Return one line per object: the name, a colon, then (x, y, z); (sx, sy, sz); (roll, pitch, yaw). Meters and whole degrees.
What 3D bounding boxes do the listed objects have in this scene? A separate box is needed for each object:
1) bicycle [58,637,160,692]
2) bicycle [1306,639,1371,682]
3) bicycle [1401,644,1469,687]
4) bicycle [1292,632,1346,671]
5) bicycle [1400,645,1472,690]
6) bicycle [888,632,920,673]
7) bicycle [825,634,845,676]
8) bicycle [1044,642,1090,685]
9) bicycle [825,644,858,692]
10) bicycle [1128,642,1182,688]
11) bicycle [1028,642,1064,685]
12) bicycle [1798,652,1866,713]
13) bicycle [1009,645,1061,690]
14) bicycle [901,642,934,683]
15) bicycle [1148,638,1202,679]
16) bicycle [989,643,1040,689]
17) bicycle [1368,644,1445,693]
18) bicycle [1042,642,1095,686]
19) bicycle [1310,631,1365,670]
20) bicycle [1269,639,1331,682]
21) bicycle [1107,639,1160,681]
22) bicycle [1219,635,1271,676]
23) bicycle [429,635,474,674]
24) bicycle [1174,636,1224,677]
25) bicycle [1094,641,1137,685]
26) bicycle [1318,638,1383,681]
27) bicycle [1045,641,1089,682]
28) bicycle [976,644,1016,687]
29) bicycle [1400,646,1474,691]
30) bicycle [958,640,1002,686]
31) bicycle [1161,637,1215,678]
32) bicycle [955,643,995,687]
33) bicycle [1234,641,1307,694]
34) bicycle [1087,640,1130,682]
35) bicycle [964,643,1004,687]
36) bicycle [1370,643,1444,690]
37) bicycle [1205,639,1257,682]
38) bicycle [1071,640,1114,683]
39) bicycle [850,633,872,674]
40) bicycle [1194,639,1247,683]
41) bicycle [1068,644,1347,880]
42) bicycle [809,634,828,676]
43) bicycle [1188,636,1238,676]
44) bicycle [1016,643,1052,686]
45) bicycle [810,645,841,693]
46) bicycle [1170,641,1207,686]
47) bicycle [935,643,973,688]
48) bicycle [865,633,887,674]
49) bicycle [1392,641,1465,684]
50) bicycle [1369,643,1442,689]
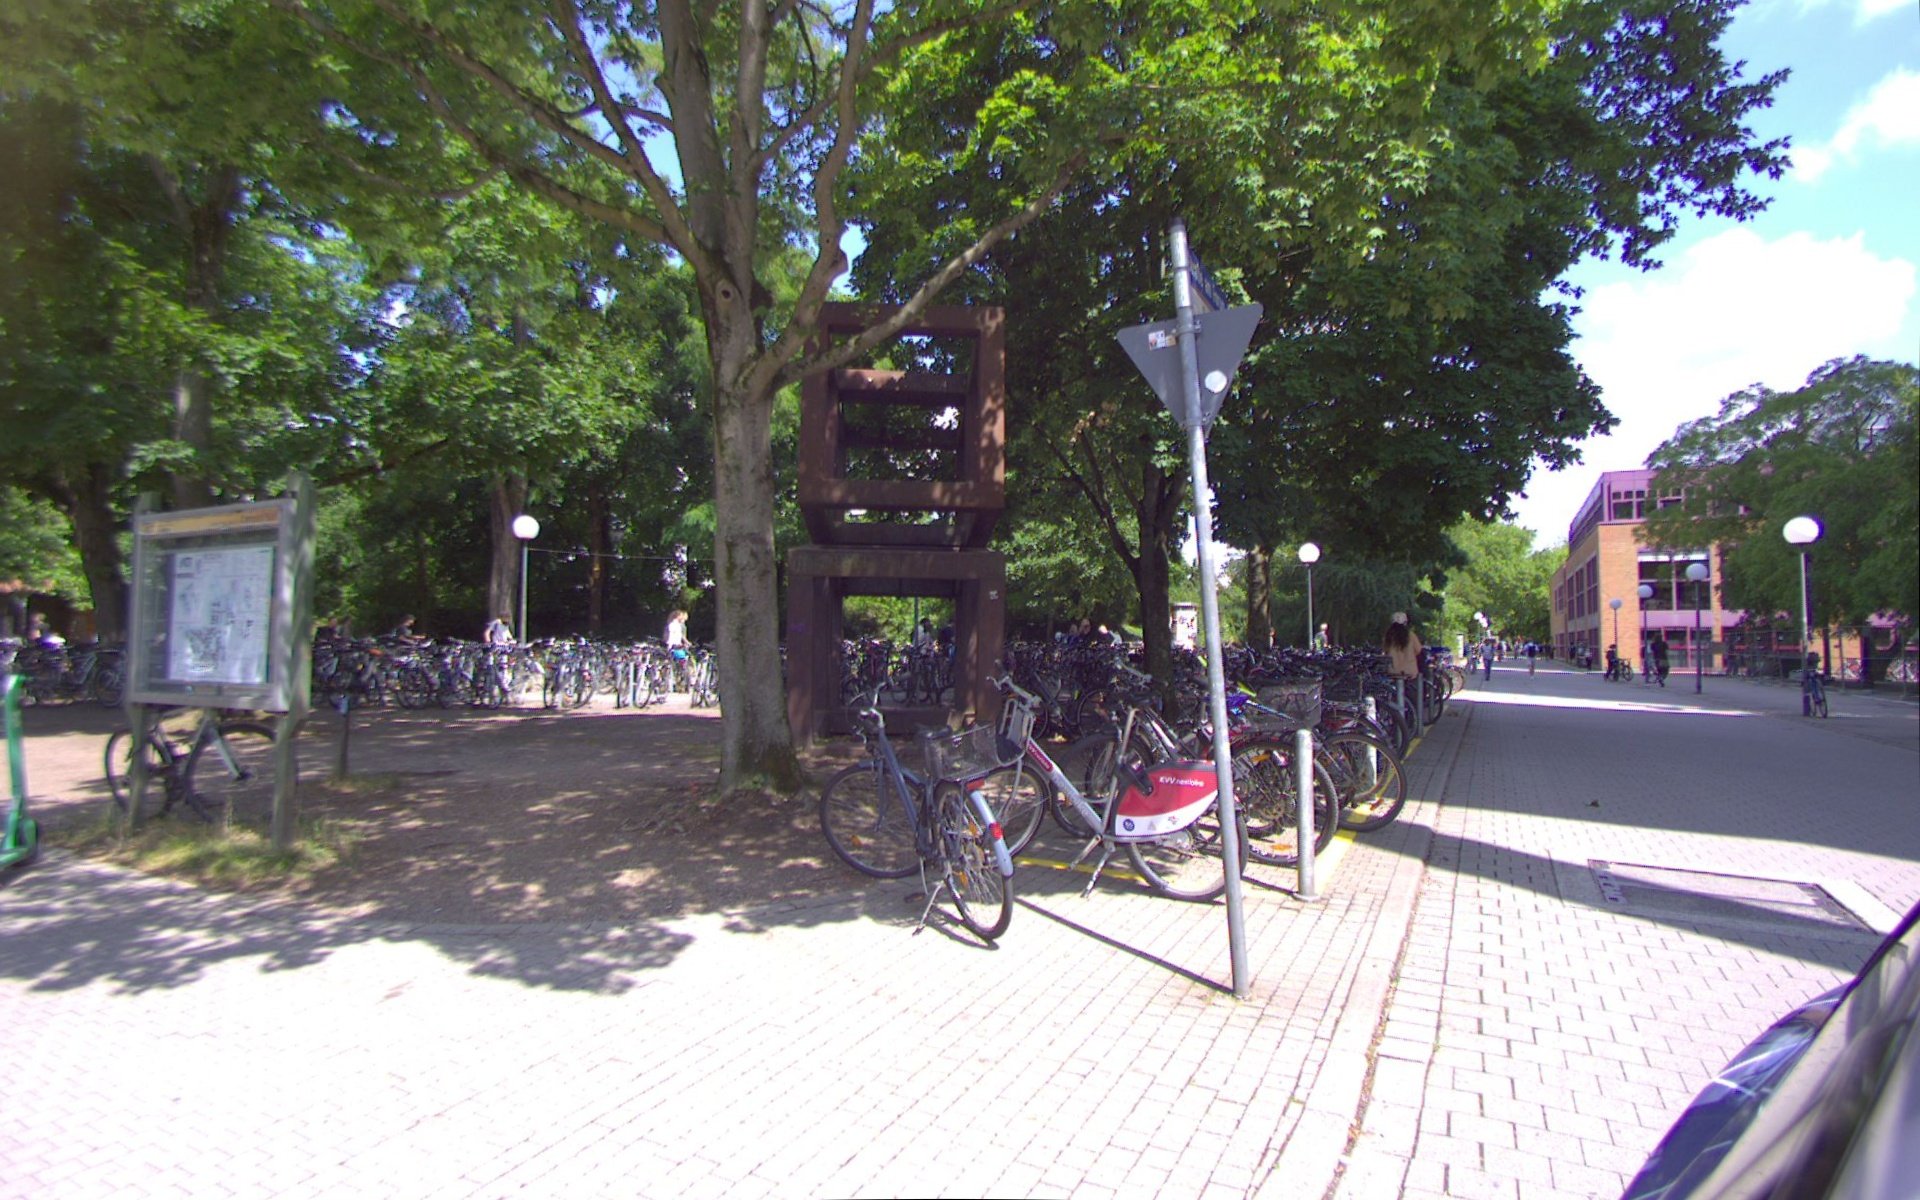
bicycle: (-17.468, 1.324, 20.769); (1.872, 1.096, 0.477); (-1, -2, 9)
bicycle: (10.000, 1.590, 26.770); (0.469, 1.098, 1.689); (4, -4, -29)
bicycle: (12.957, 1.790, 27.637); (1.670, 1.098, 0.524); (0, -4, 24)
bicycle: (10.619, 1.532, 29.999); (0.469, 1.098, 1.690); (4, -4, -24)
bicycle: (12.359, 1.757, 26.320); (1.670, 1.098, 0.524); (0, -4, 24)
bicycle: (-1.462, 1.332, 26.015); (0.370, 0.991, 1.805); (0, -1, -18)
bicycle: (-3.153, 1.356, 25.410); (0.395, 0.991, 1.599); (0, -1, -11)
bicycle: (2.854, 1.683, 27.090); (0.346, 1.098, 1.471); (5, -5, -35)
bicycle: (-2.714, 1.535, 23.103); (0.468, 0.991, 1.907); (0, -1, -15)
bicycle: (4.827, 1.598, 25.161); (0.469, 1.098, 1.473); (4, -4, -28)
bicycle: (2.277, 1.693, 26.906); (0.345, 1.098, 1.474); (3, -4, -20)
bicycle: (17.261, 1.600, 20.067); (0.565, 1.118, 1.816); (0, -2, 26)
bicycle: (1.785, 1.591, 24.308); (0.468, 0.991, 1.907); (0, -1, -21)
bicycle: (-1.102, 1.593, 26.110); (0.370, 0.991, 1.805); (0, -1, -18)
bicycle: (5.969, 1.617, 28.190); (0.469, 1.098, 1.689); (4, -4, -29)
bicycle: (1.273, 1.549, 24.037); (0.468, 0.991, 1.907); (0, -1, -21)
bicycle: (10.665, 1.629, 24.194); (1.670, 1.098, 0.474); (0, -4, 24)
bicycle: (2.611, 1.524, 24.556); (0.468, 0.991, 1.907); (0, -1, -21)
bicycle: (11.328, 1.516, 30.393); (0.469, 1.098, 1.690); (4, -4, -25)
bicycle: (9.026, 1.600, 26.926); (0.469, 1.098, 1.689); (4, -4, -29)
bicycle: (4.741, 1.639, 27.794); (0.469, 1.098, 1.689); (4, -4, -29)
bicycle: (8.125, 1.582, 28.887); (0.468, 1.098, 1.690); (4, -4, -22)
bicycle: (-15.466, 1.643, 30.803); (0.342, 1.107, 1.606); (-1, -1, 9)
bicycle: (6.766, 1.602, 28.695); (0.468, 1.098, 1.690); (4, -4, -22)
bicycle: (3.784, 1.509, 24.719); (0.469, 0.991, 1.906); (0, -1, -9)
bicycle: (10.403, 1.581, 27.009); (0.469, 1.098, 1.689); (4, -4, -29)
bicycle: (2.909, 1.673, 27.685); (0.346, 1.098, 1.472); (4, -5, -31)
bicycle: (0.932, 1.714, 26.691); (0.345, 1.098, 1.473); (4, -4, -27)
bicycle: (12.154, 1.741, 25.832); (1.670, 1.098, 0.524); (0, -4, 24)
bicycle: (0.450, 1.447, 23.619); (0.468, 0.991, 1.907); (0, -1, -16)
bicycle: (6.384, 1.608, 28.425); (0.469, 1.098, 1.689); (4, -4, -29)
bicycle: (0.384, 1.662, 26.225); (0.345, 1.098, 1.473); (4, -4, -27)
bicycle: (6.639, 1.433, 21.646); (1.456, 1.098, 0.349); (-1, -3, 26)
bicycle: (4.043, 1.659, 27.610); (0.468, 1.098, 1.691); (3, -4, -17)
bicycle: (0.624, 1.689, 26.525); (0.345, 1.098, 1.473); (4, -4, -27)
bicycle: (11.030, 1.640, 25.015); (1.670, 1.098, 0.474); (0, -4, 24)
bicycle: (7.069, 1.572, 26.447); (0.346, 1.098, 1.472); (5, -5, -33)
bicycle: (3.590, 1.667, 27.478); (0.468, 1.098, 1.691); (3, -4, -17)
bicycle: (-2.526, 1.343, 25.737); (0.395, 0.991, 1.599); (0, -1, -11)
bicycle: (6.744, 1.580, 26.230); (0.346, 1.098, 1.472); (5, -5, -33)
bicycle: (1.416, 0.866, 5.833); (1.475, 1.156, 0.556); (0, 0, 27)
bicycle: (-3.550, 1.363, 25.345); (0.395, 0.991, 1.599); (0, -1, -11)
bicycle: (7.210, 1.593, 28.889); (0.468, 1.098, 1.690); (4, -4, -22)
bicycle: (1.941, 1.699, 26.781); (0.345, 1.098, 1.474); (3, -4, -20)
bicycle: (-3.077, 1.539, 23.008); (0.468, 0.991, 1.907); (0, -1, -15)
bicycle: (5.807, 1.610, 25.734); (0.444, 1.098, 1.472); (2, -4, -6)
bicycle: (-0.160, 1.673, 25.976); (0.345, 1.098, 1.473); (4, -5, -27)
bicycle: (-2.143, 1.341, 25.801); (0.395, 0.991, 1.599); (0, -1, -11)
bicycle: (12.508, 1.670, 27.047); (1.680, 1.098, 0.521); (-1, -5, 40)
bicycle: (11.261, 1.672, 25.613); (1.670, 1.098, 0.524); (0, -4, 24)
